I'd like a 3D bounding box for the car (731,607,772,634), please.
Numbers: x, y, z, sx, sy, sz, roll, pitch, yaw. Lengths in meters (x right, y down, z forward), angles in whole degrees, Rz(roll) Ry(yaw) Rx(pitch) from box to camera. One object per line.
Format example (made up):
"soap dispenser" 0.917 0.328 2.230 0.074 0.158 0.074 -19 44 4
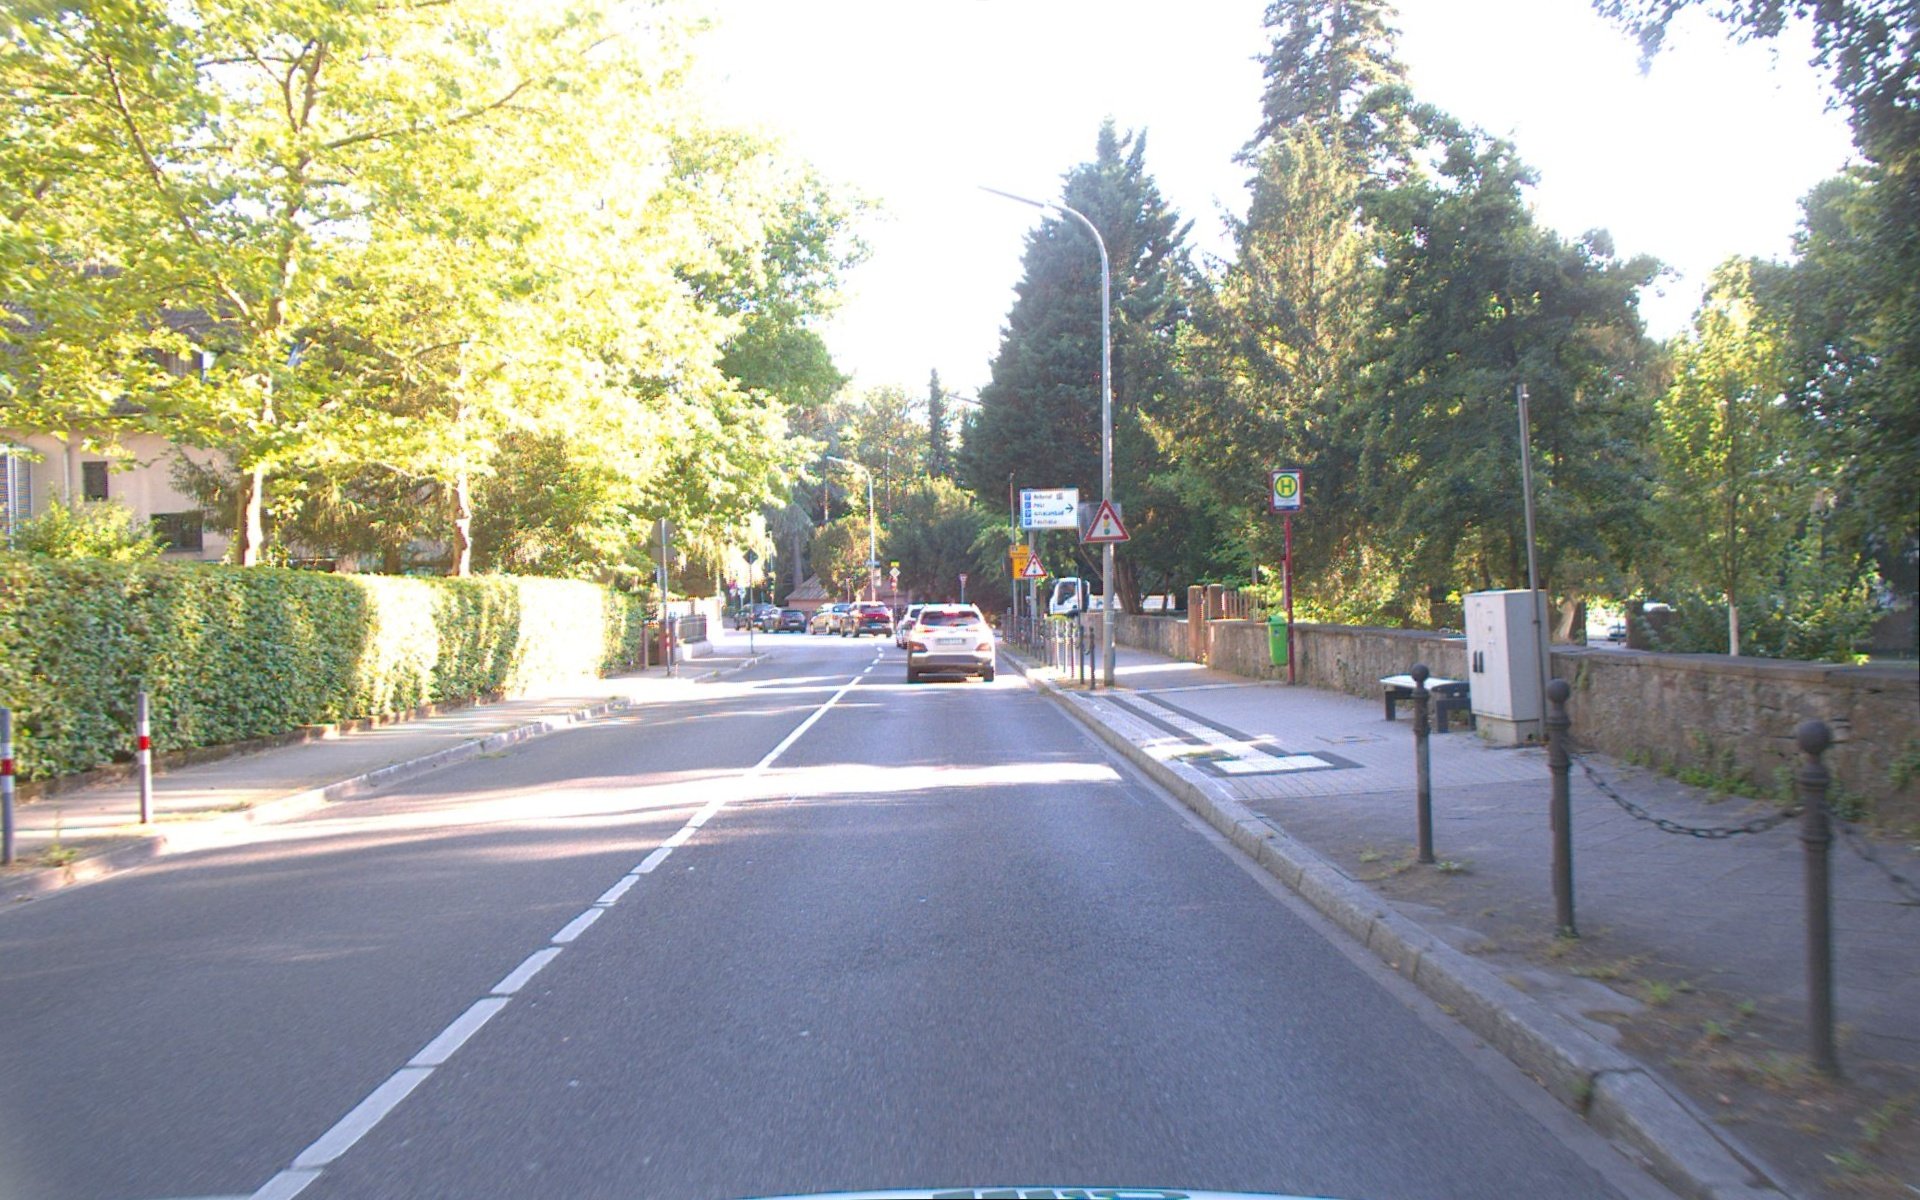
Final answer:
"car" -13.100 1.266 103.705 1.804 1.691 3.977 1 0 -19

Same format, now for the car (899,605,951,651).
"car" -1.269 0.960 58.719 1.769 1.564 3.998 0 0 -2

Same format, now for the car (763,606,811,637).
"car" -9.712 1.201 92.657 1.803 1.691 3.979 1 0 -18

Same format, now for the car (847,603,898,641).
"car" -4.069 1.011 76.461 1.799 1.691 3.988 1 0 -12

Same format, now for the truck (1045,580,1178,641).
"truck" 7.483 0.526 82.097 6.449 2.945 2.434 0 0 4

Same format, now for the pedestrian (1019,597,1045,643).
"pedestrian" 2.932 0.820 67.463 0.934 1.858 0.546 1 1 -40

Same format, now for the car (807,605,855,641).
"car" -6.598 1.143 84.133 1.801 1.771 3.985 1 0 -14

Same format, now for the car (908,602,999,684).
"car" -0.185 0.872 34.955 1.783 1.601 3.999 1 0 -2
